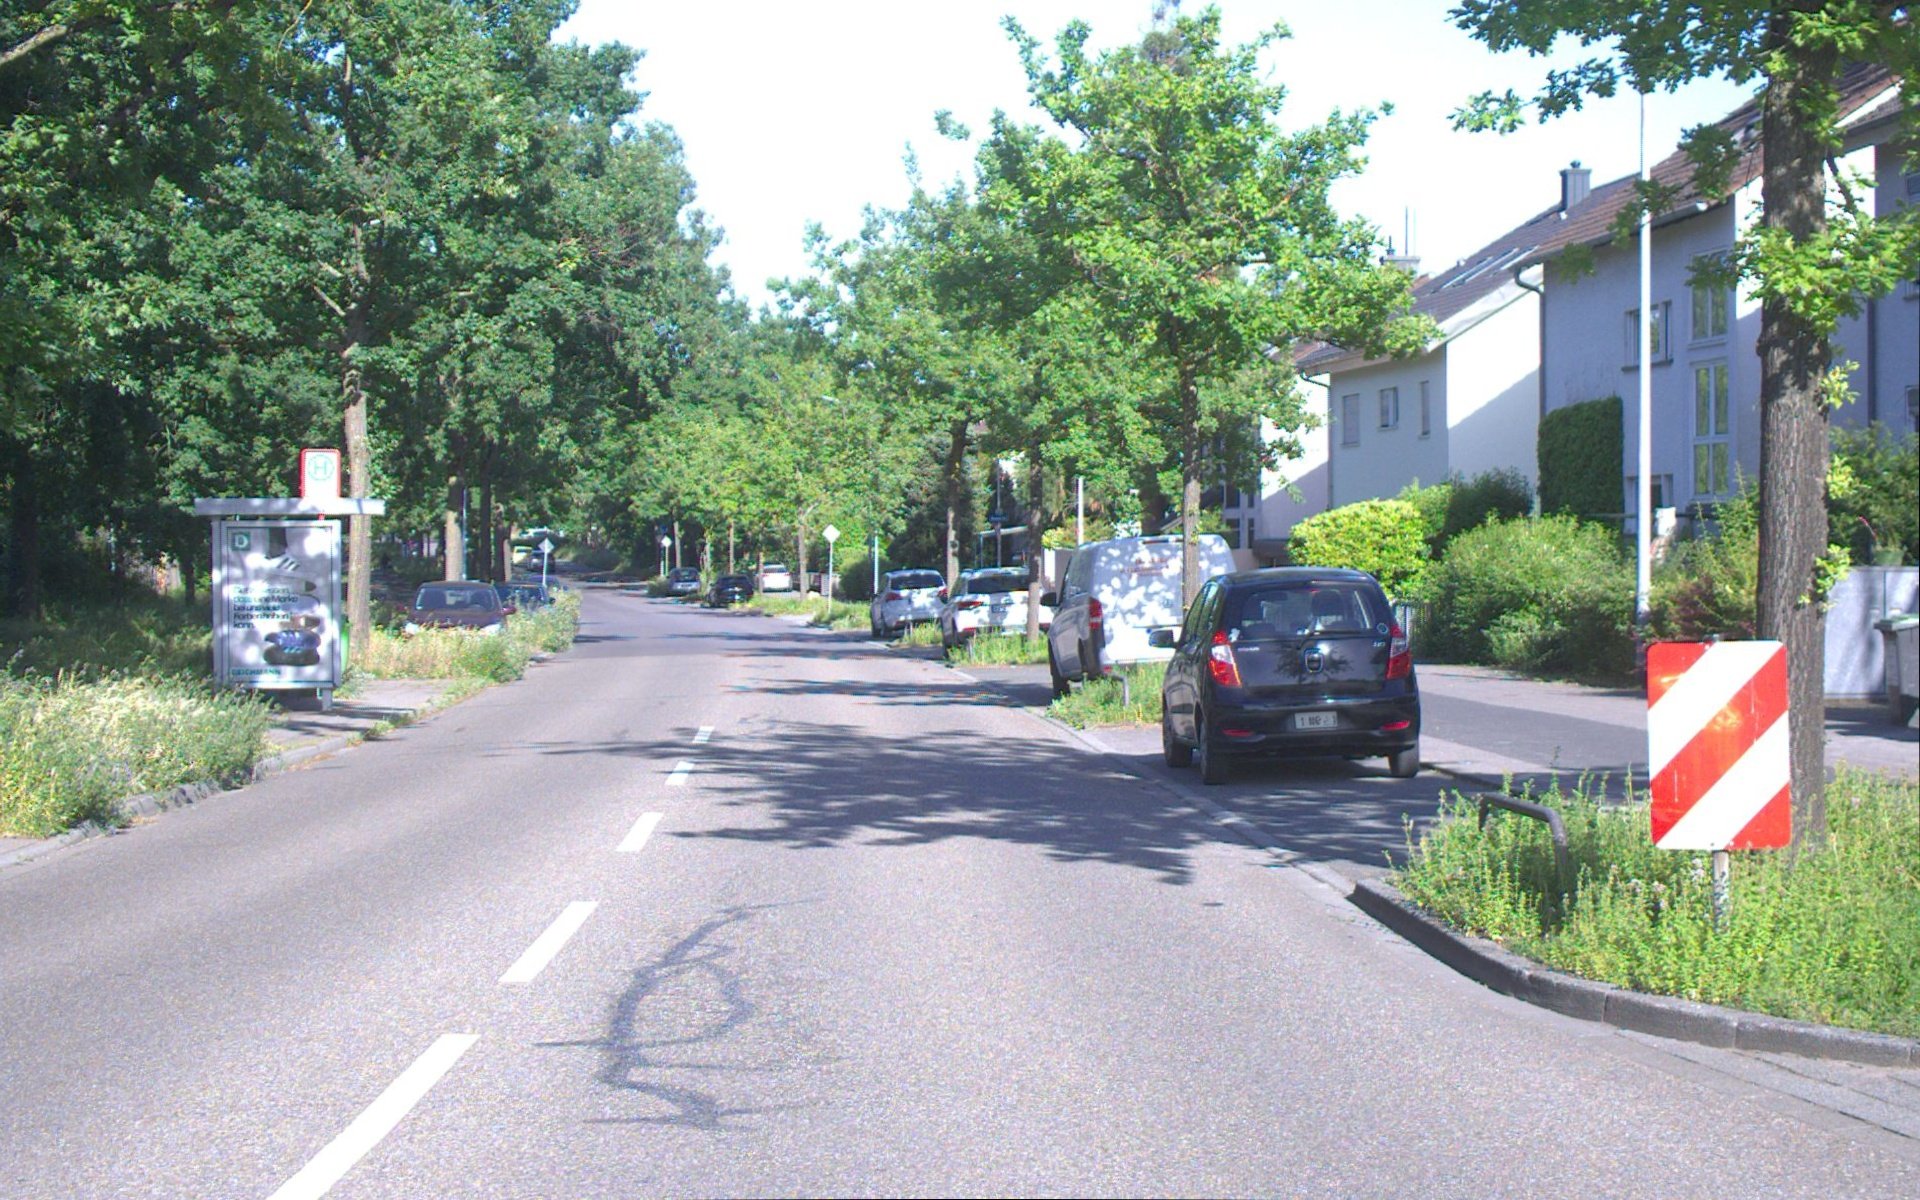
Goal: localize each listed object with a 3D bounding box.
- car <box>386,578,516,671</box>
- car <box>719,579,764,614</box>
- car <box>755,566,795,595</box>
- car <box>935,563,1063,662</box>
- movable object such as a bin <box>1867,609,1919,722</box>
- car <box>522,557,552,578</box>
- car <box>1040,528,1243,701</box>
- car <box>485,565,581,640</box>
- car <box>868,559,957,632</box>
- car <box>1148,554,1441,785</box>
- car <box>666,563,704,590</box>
[{"bbox_3d":[-8.296,0.377,56.352,1.935,1.474,4.001,0,0,-6],"label":"car"},{"bbox_3d":[-9.739,-0.165,152.805,1.933,1.537,4.001,0,0,-4],"label":"car"},{"bbox_3d":[-9.650,-1.017,178.998,1.933,1.449,4.001,0,0,-6],"label":"car"},{"bbox_3d":[0.656,0.205,61.491,1.935,1.698,4.001,0,0,-4],"label":"car"},{"bbox_3d":[7.916,0.545,28.686,0.529,0.929,0.549,0,0,-3],"label":"movable object such as a bin"},{"bbox_3d":[-29.307,-2.224,238.135,1.933,1.449,4.001,0,0,-6],"label":"car"},{"bbox_3d":[2.123,0.153,41.471,1.835,1.964,4.759,0,0,-4],"label":"car"},{"bbox_3d":[-9.276,0.041,74.829,1.993,1.551,4.001,1,0,-7],"label":"car"},{"bbox_3d":[-1.186,-0.109,84.023,1.933,1.736,4.001,0,0,-4],"label":"car"},{"bbox_3d":[2.472,0.476,26.194,1.672,1.573,3.752,-2,0,-2],"label":"car"},{"bbox_3d":[-14.510,-1.236,181.218,1.933,1.449,4.001,0,0,-6],"label":"car"}]
